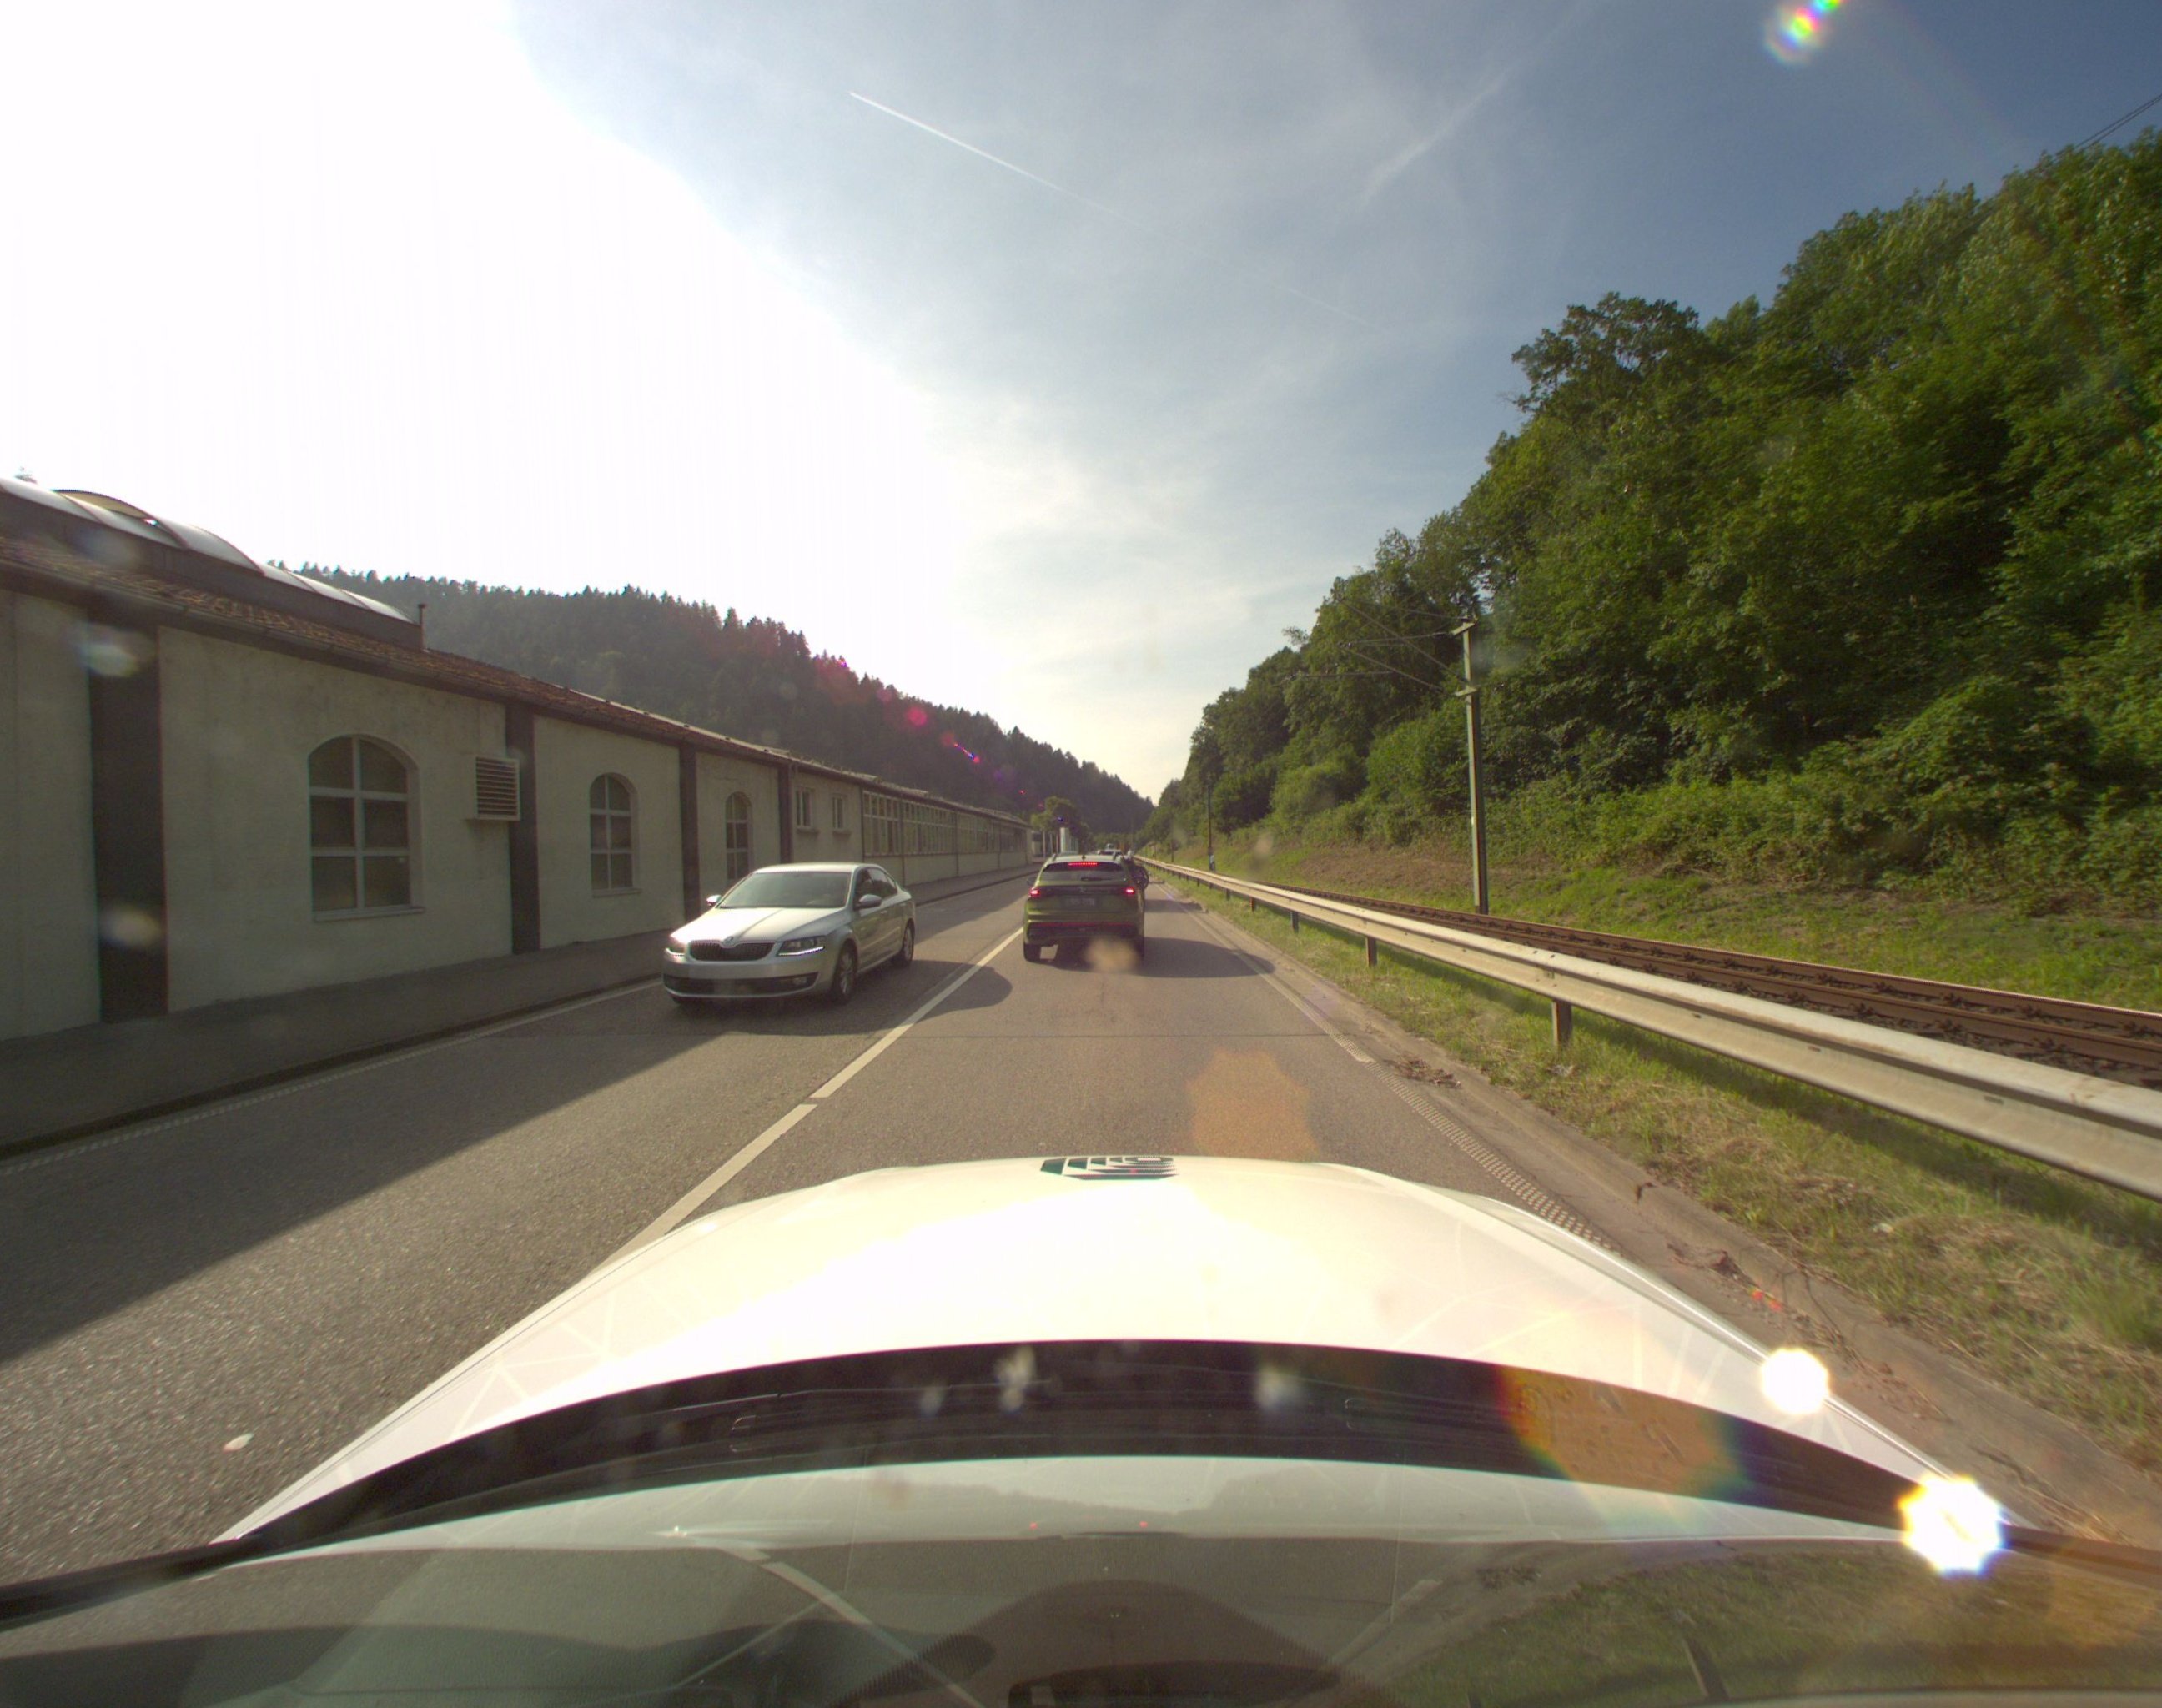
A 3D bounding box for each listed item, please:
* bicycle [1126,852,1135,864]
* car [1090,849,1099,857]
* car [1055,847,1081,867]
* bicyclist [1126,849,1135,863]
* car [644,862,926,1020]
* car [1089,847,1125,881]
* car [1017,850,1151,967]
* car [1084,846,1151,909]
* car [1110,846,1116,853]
[{"bbox_3d":[4.973,0.386,81.959,0.809,1.250,2.123,-2,0,0],"label":"bicycle"},{"bbox_3d":[2.542,-0.162,152.333,1.712,1.514,4.201,0,0,2],"label":"car"},{"bbox_3d":[-1.052,0.248,67.919,1.922,1.581,4.460,0,0,2],"label":"car"},{"bbox_3d":[4.981,0.224,81.974,0.779,1.412,0.675,-2,0,0],"label":"bicyclist"},{"bbox_3d":[-3.151,0.832,9.642,1.733,1.392,4.110,-1,0,1],"label":"car"},{"bbox_3d":[1.302,0.491,41.123,1.733,1.602,4.001,-1,0,1],"label":"car"},{"bbox_3d":[0.086,0.717,12.743,1.733,1.508,4.001,-1,0,1],"label":"car"},{"bbox_3d":[0.997,0.599,23.182,1.733,1.602,4.001,-1,0,1],"label":"car"},{"bbox_3d":[9.870,-1.331,251.270,1.986,2.014,4.001,-1,0,1],"label":"car"}]
